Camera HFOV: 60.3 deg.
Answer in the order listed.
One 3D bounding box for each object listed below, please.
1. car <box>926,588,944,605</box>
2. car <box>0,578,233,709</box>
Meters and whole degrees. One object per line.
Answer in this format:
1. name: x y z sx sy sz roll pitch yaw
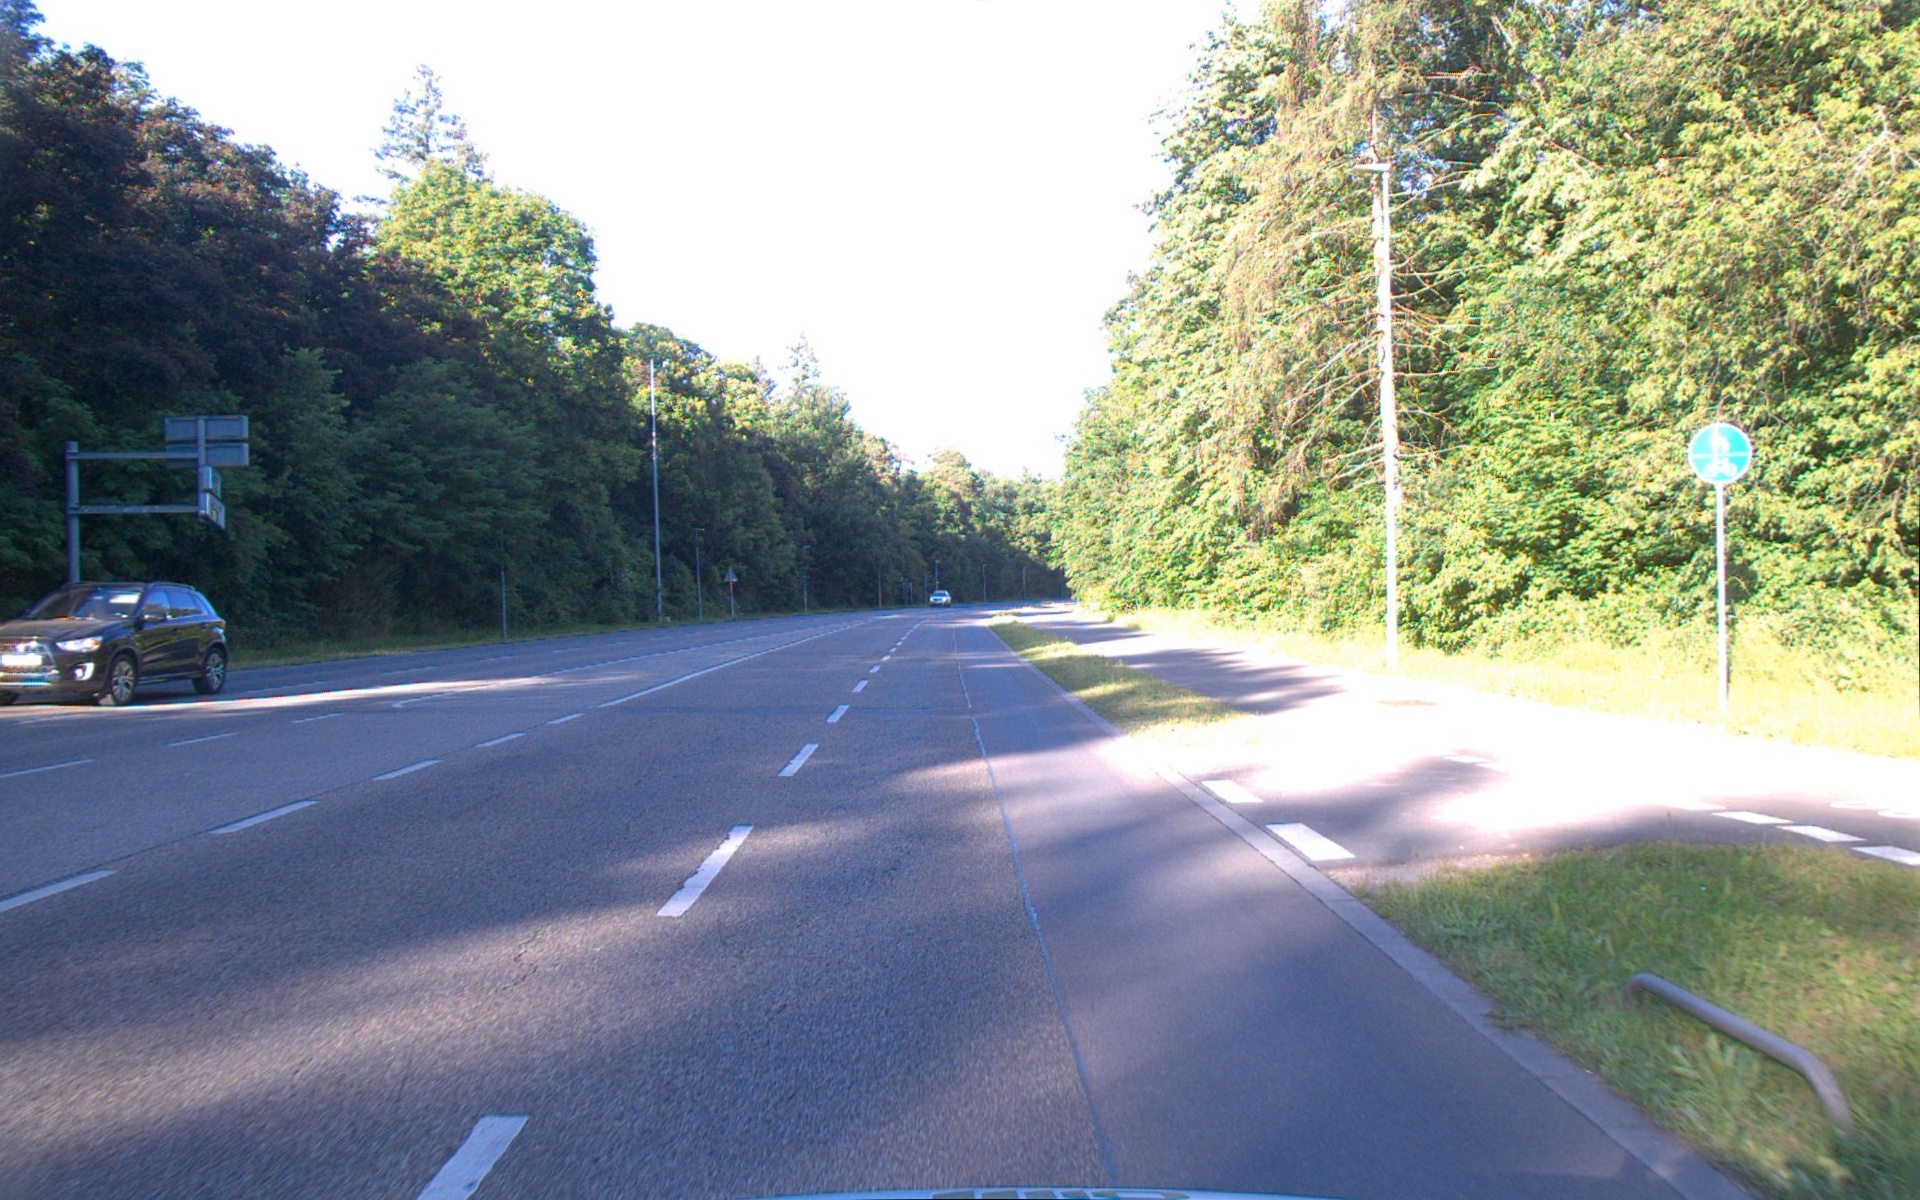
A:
1. car: -2.620 -0.365 175.346 1.869 1.693 4.733 0 0 0
2. car: -11.803 0.535 22.675 1.787 1.617 4.350 0 0 -1
